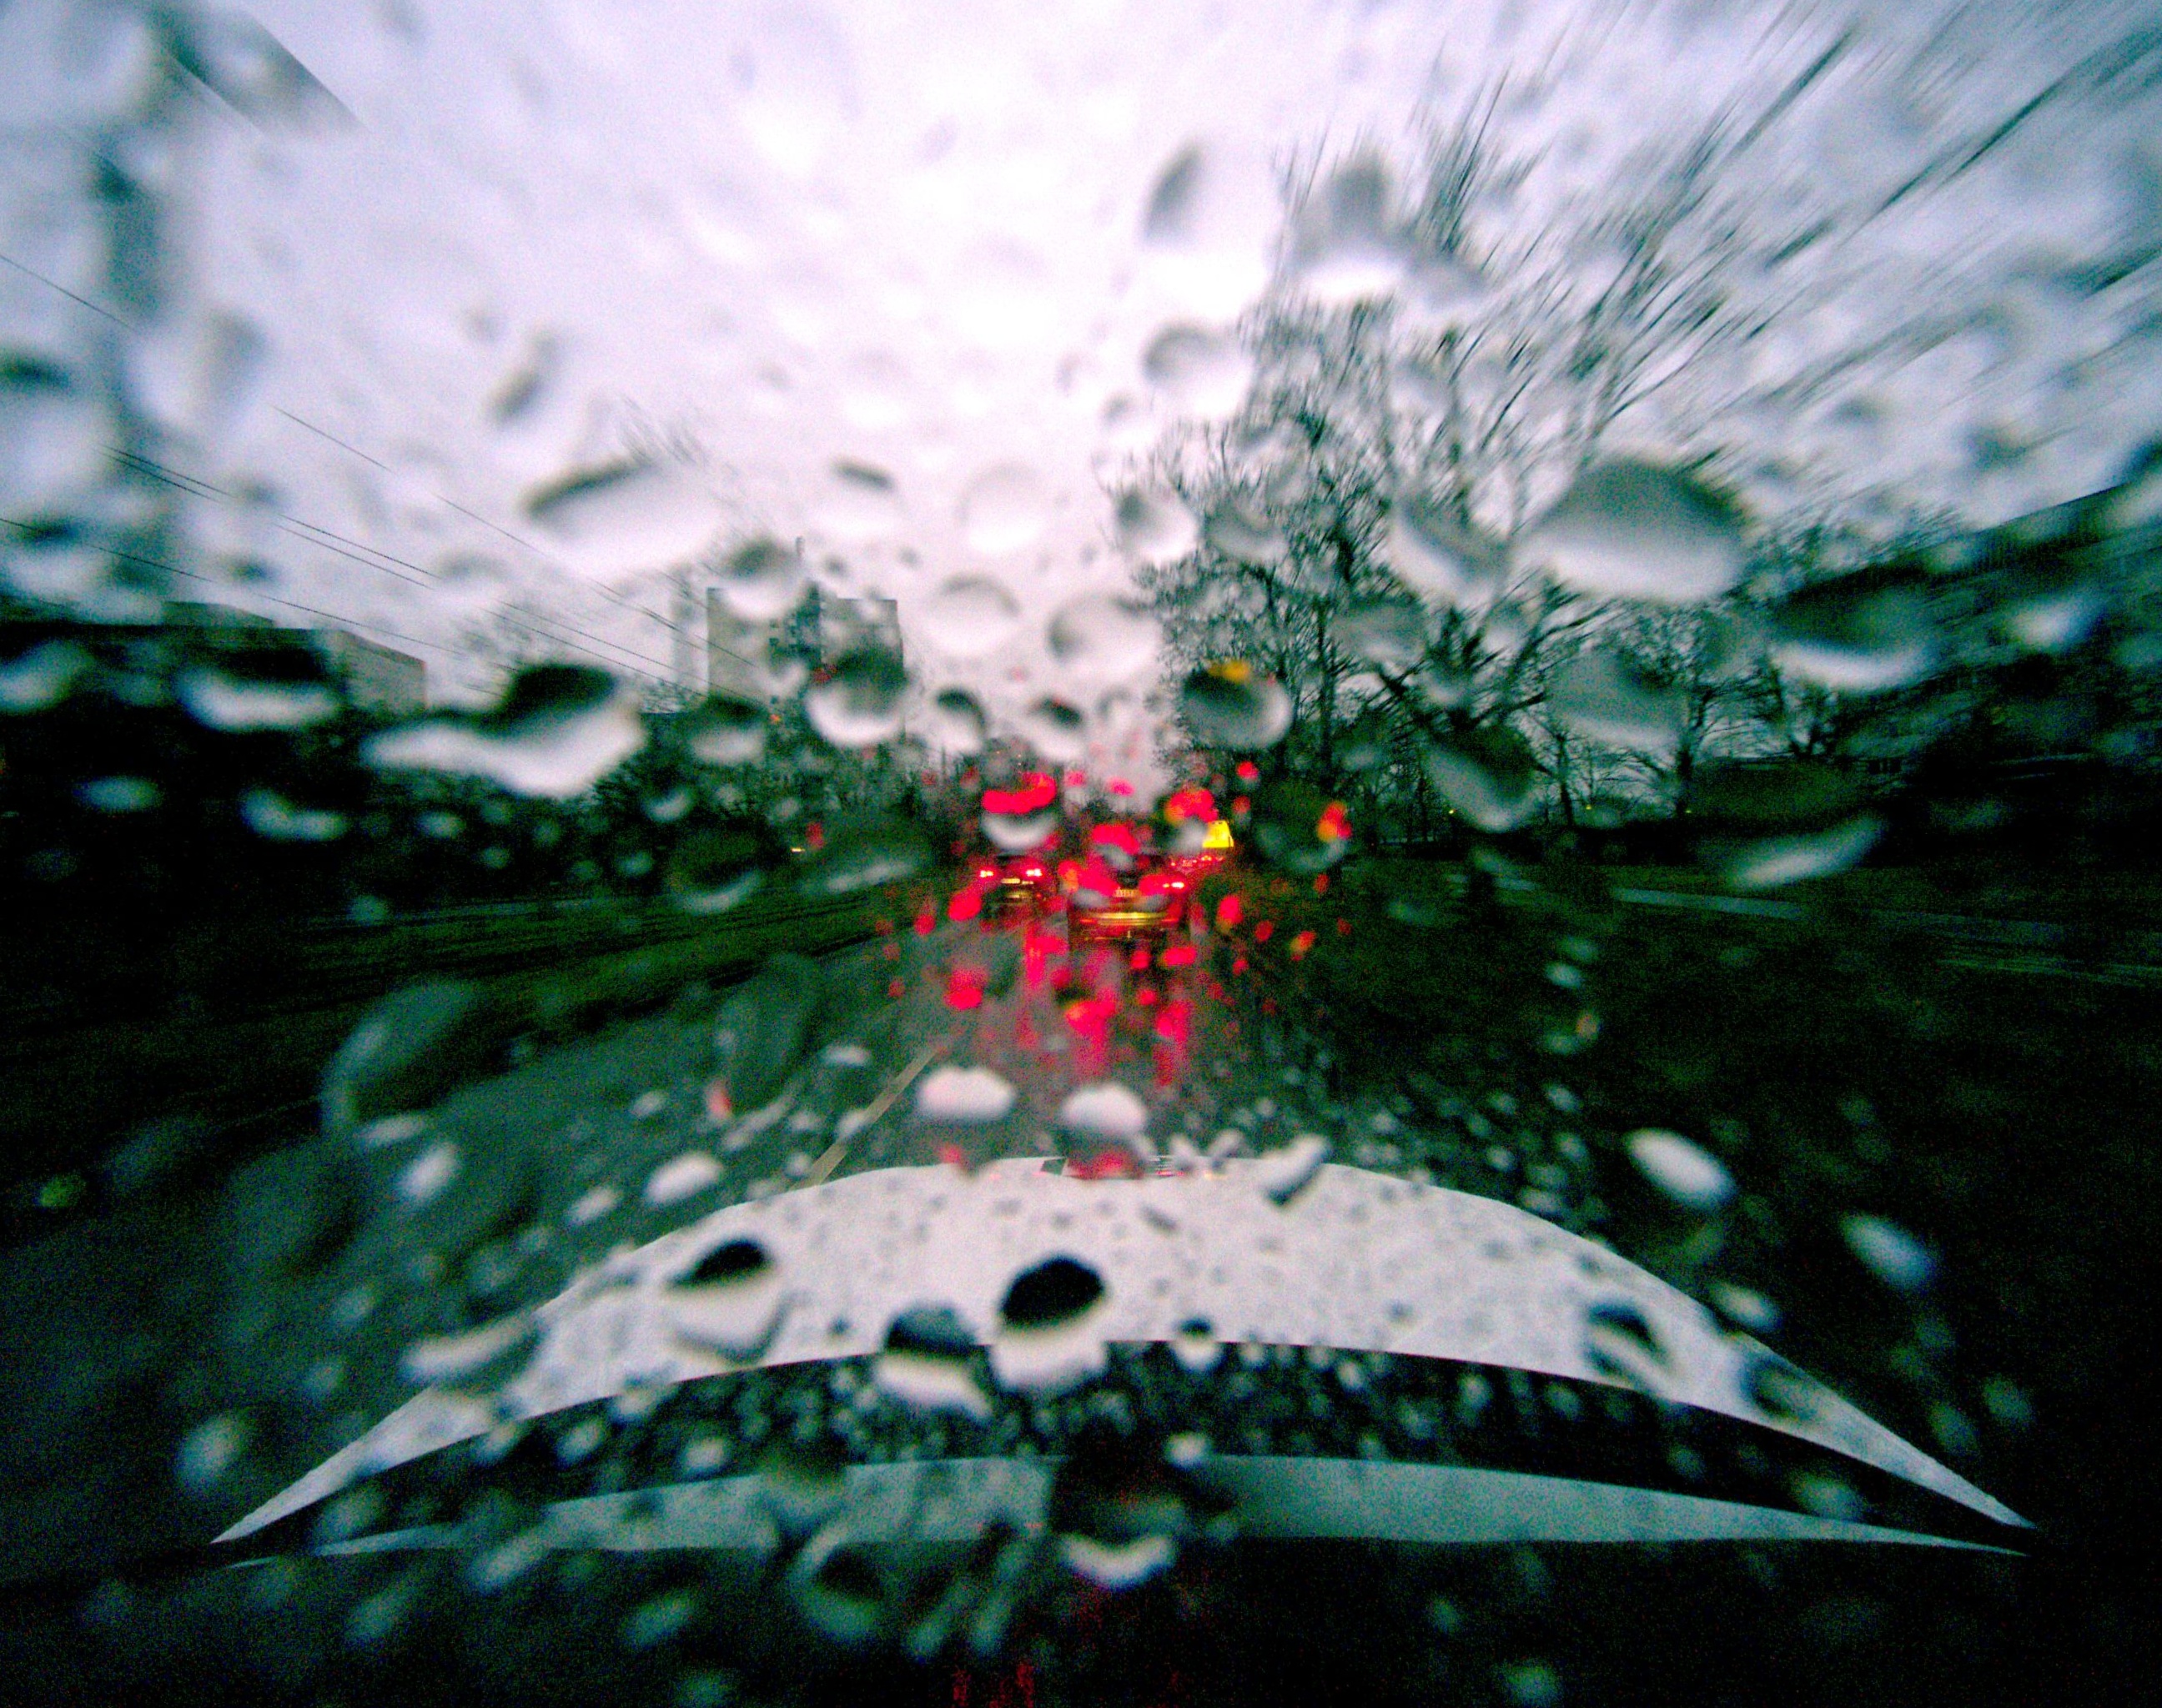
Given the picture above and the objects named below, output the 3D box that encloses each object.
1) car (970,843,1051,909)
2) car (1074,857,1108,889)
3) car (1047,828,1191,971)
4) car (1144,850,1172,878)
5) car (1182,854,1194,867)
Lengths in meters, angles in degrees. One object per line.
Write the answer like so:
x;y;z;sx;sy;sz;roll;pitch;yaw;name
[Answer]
-1.922;0.640;23.447;1.987;1.712;4.322;0;-2;-1;car
0.545;1.057;47.327;1.822;1.739;3.803;0;0;-1;car
0.635;0.688;13.368;1.985;1.976;4.071;-1;-2;3;car
5.429;0.711;57.265;1.847;1.892;4.006;-1;-2;6;car
13.237;0.793;100.706;1.526;1.513;3.350;-1;-2;8;car
